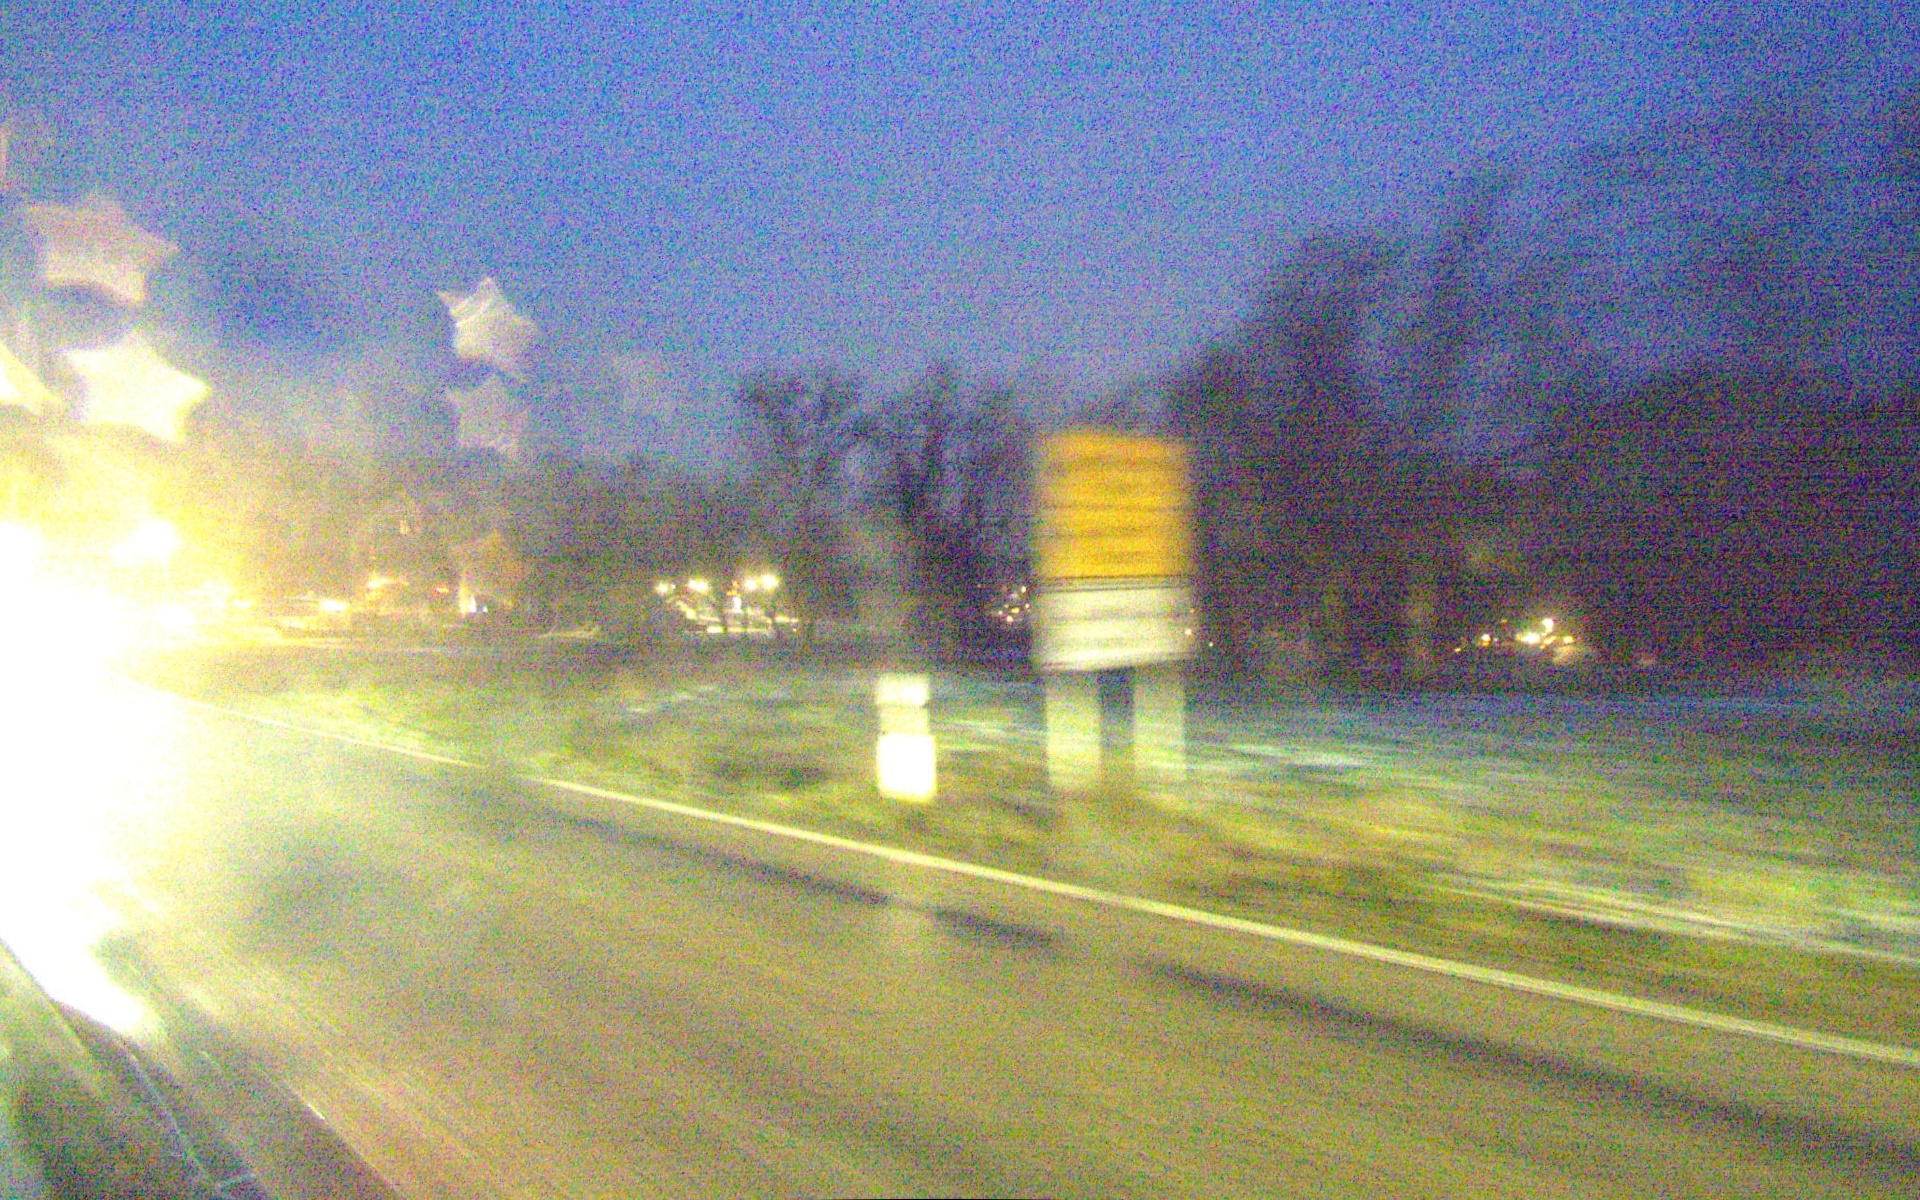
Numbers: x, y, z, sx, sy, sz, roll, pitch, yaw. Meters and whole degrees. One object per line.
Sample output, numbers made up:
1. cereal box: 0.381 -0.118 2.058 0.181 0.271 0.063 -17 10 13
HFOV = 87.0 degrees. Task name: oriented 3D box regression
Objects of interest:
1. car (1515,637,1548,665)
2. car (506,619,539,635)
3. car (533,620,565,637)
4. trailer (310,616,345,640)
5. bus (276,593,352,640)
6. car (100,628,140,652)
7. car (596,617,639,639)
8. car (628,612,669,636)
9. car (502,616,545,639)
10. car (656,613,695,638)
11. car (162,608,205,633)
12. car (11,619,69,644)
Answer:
1. car: 50.986 4.495 90.243 2.298 2.028 4.618 2 3 32
2. car: -46.846 2.868 108.523 1.834 1.408 4.042 3 2 -2
3. car: -44.038 3.020 108.444 1.834 1.408 4.042 3 2 -2
4. trailer: -47.631 2.127 76.164 1.789 1.690 4.109 3 -2 -38
5. bus: -58.494 1.365 91.419 13.063 3.897 2.861 1 1 44
6. car: -57.615 2.724 69.468 1.613 1.521 4.106 2 -2 -34
7. car: -31.339 2.542 92.548 1.914 1.709 4.633 -2 3 -43
8. car: -29.293 2.229 95.133 4.002 2.071 1.971 2 3 44
9. car: -37.570 2.342 87.037 1.914 1.709 4.633 -2 3 -43
10. car: -26.960 2.407 95.812 4.002 2.071 1.739 2 3 44
11. car: -67.765 1.750 88.382 1.965 2.029 4.861 -2 1 -25
12. car: -58.270 1.994 64.182 1.898 1.521 4.107 2 -2 -31
